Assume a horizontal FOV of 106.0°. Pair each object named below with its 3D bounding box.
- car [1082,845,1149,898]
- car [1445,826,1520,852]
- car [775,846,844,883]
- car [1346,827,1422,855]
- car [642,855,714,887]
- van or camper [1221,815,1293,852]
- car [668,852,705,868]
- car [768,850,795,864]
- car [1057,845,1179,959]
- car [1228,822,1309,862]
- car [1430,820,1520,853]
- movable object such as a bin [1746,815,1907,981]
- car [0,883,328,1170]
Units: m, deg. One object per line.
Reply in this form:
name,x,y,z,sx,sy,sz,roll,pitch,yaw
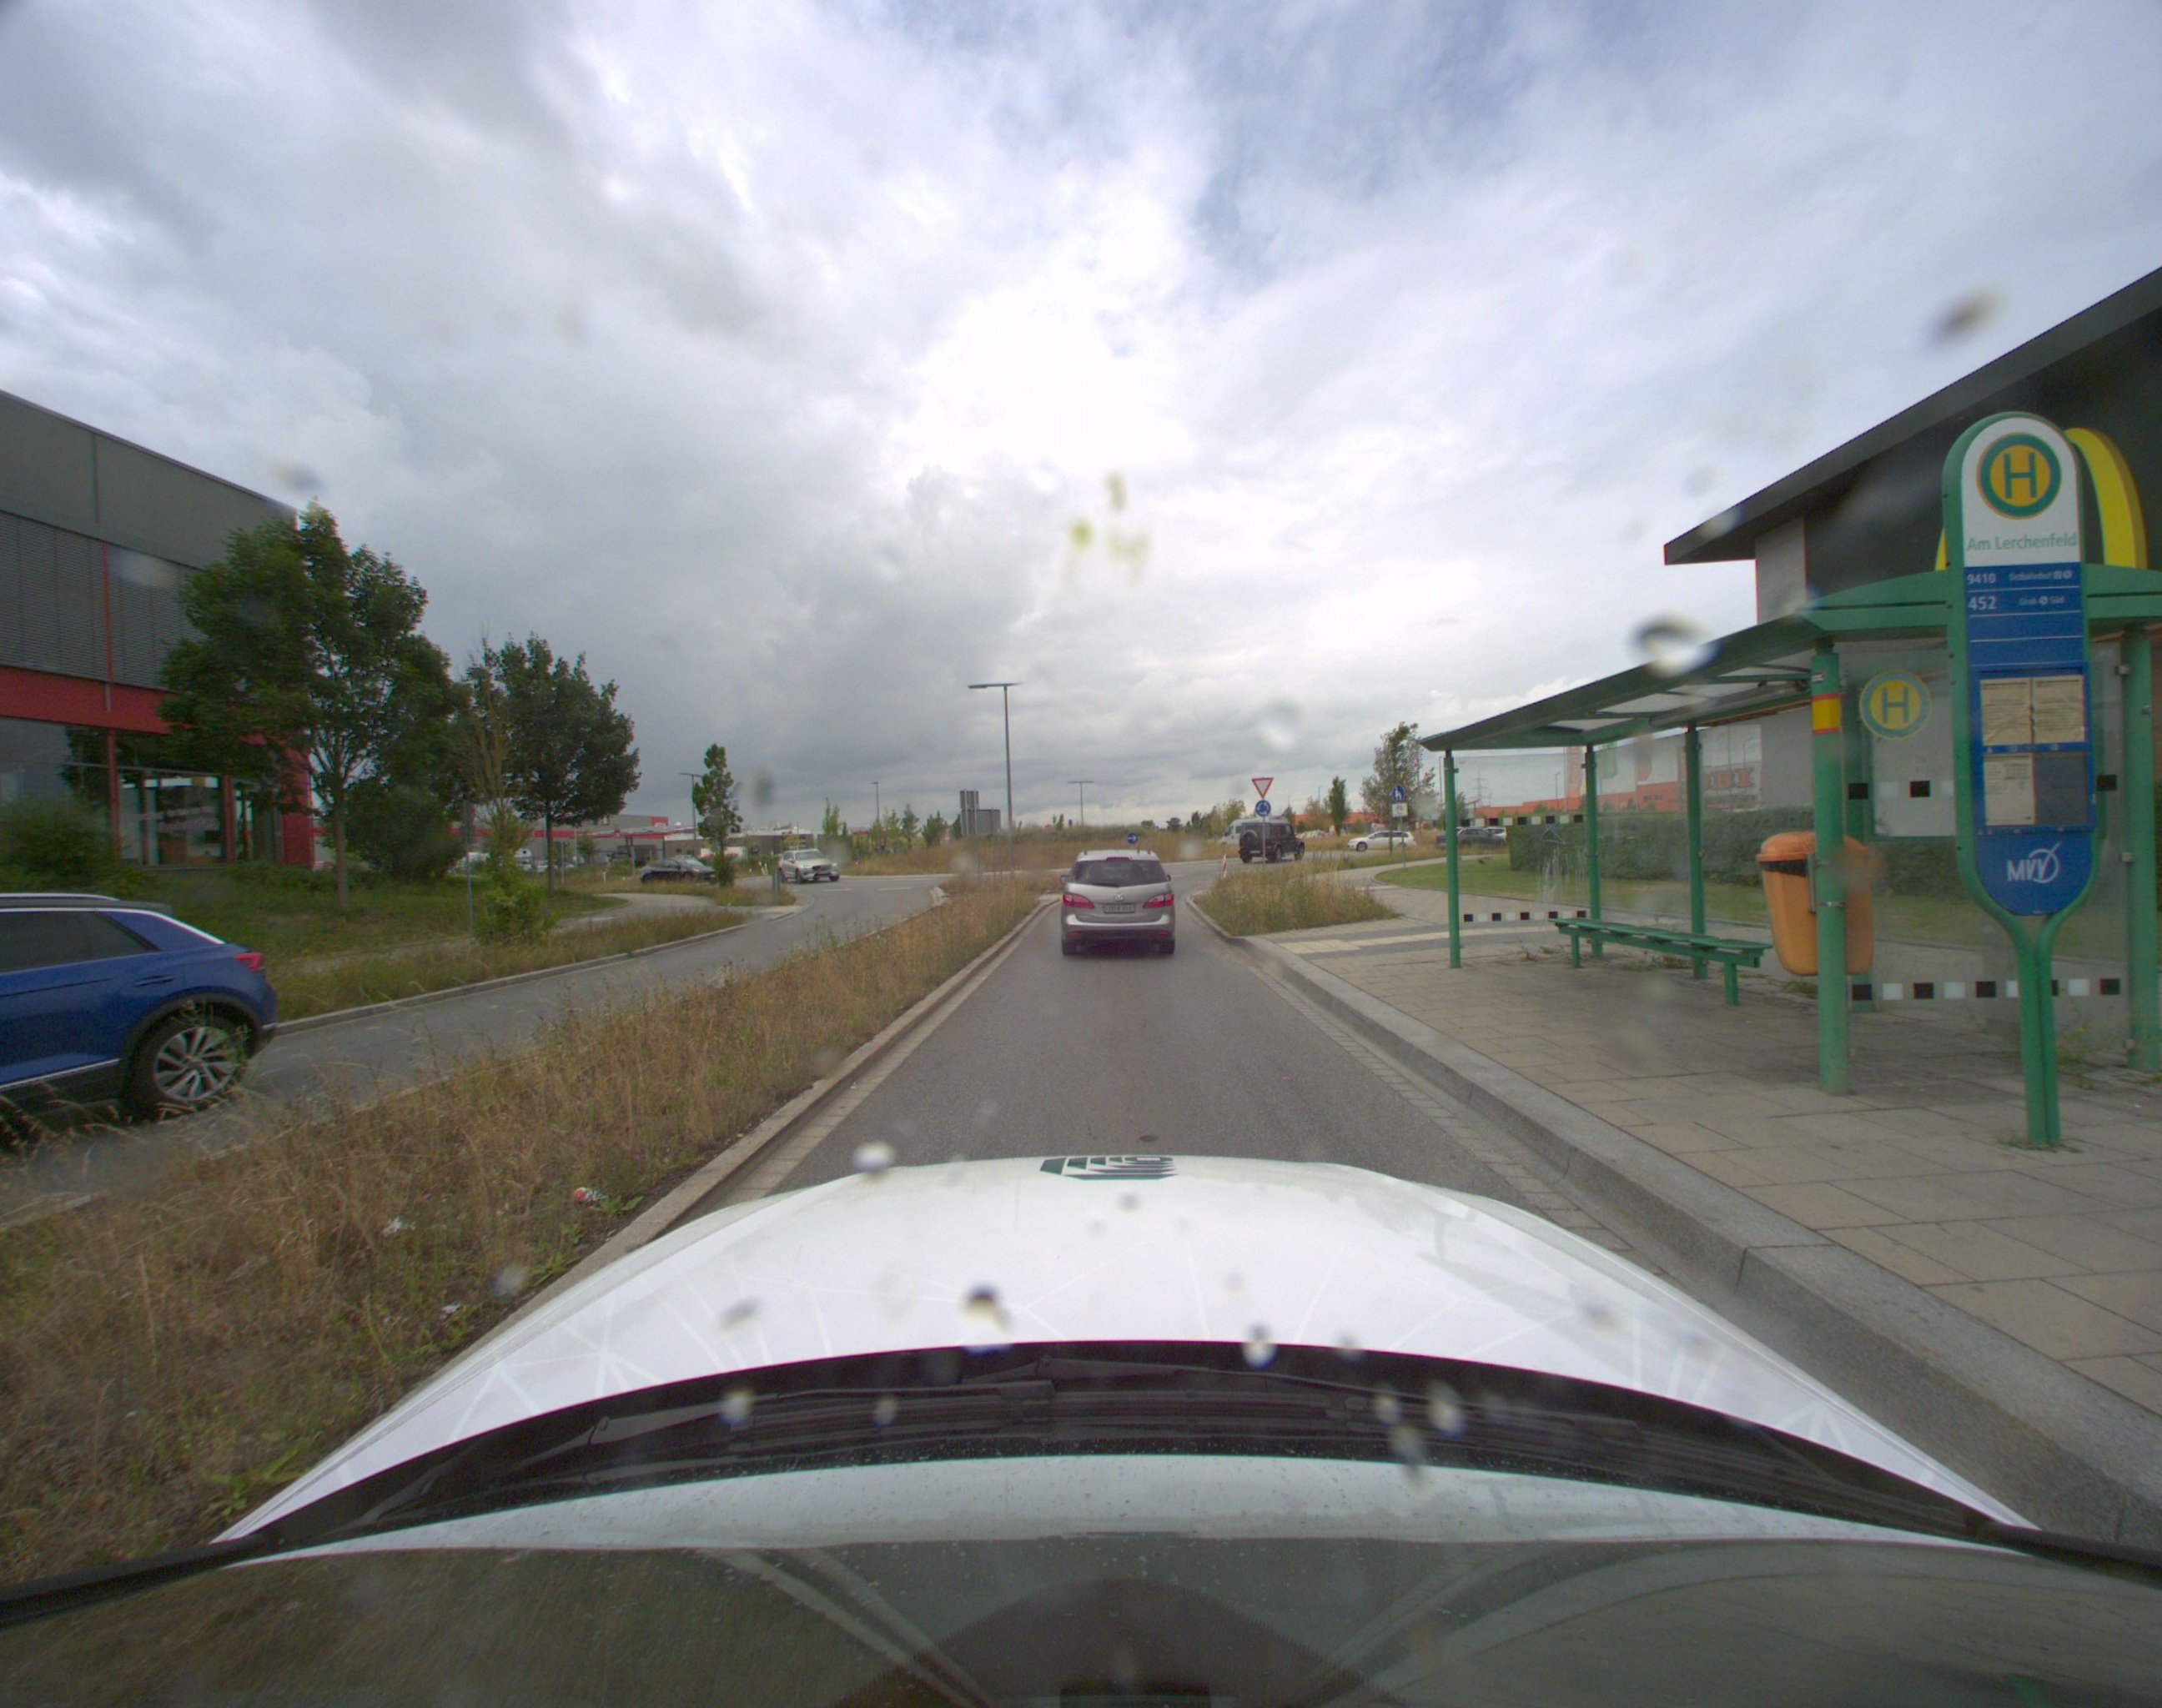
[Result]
car,1.112,0.469,25.061,1.836,1.418,4.229,-2,0,4
car,27.226,-1.033,55.287,4.079,1.604,2.003,-2,0,4
car,-13.593,0.506,40.610,2.042,1.690,4.167,-2,0,-37
car,20.745,-0.899,55.935,4.571,1.757,2.007,-2,0,12
car,-20.170,0.846,40.650,4.357,1.484,1.792,-1,0,43
van or camper,12.781,-1.428,59.435,2.316,2.506,5.158,-2,0,-28
car,-53.577,0.772,110.656,3.973,2.013,2.000,-2,0,0
car,-40.200,0.367,109.396,1.985,1.859,4.004,-2,0,3
car,0.579,0.668,13.586,1.723,1.600,3.808,-1,0,1
car,9.219,-0.589,39.798,2.038,1.826,4.817,-2,0,37
car,22.304,-0.966,46.172,4.193,1.592,2.057,-3,1,-12
movable object such as a bin,3.810,0.216,4.182,0.454,0.798,0.380,-2,0,1
car,-6.933,1.043,4.287,1.834,1.528,4.229,-4,0,2
